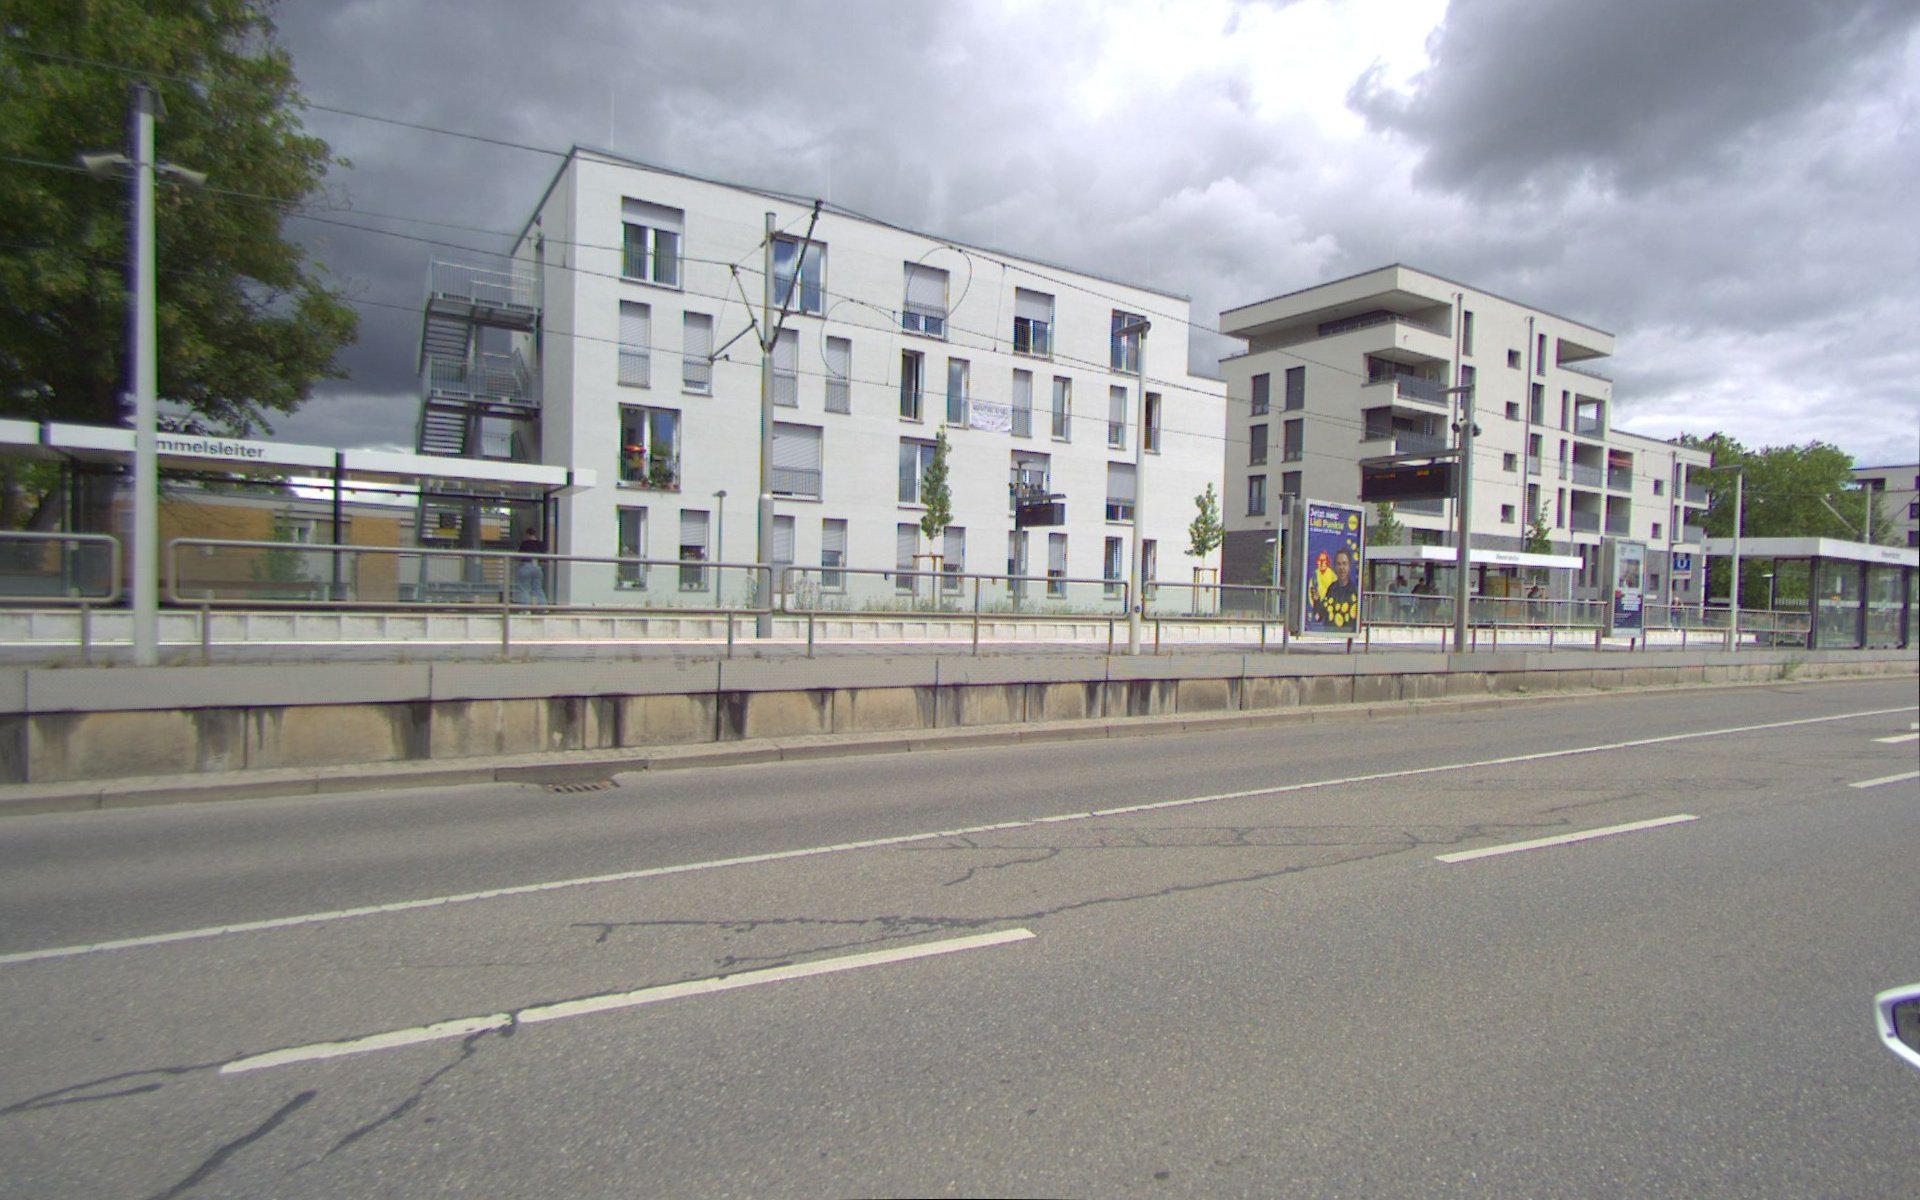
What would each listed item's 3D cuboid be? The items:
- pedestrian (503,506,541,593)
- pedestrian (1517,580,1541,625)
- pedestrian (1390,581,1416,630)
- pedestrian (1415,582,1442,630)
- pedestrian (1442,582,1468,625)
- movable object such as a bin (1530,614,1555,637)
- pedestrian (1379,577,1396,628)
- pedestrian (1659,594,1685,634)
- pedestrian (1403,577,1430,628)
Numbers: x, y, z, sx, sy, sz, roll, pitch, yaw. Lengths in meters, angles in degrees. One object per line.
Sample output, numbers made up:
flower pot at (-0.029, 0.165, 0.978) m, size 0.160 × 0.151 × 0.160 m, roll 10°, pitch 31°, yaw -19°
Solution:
pedestrian at (-8.136, -0.922, 18.632) m, size 0.540 × 1.551 × 0.738 m, roll 1°, pitch 1°, yaw -30°
pedestrian at (22.683, 0.096, 40.043) m, size 0.670 × 1.789 × 0.558 m, roll 1°, pitch 1°, yaw -31°
pedestrian at (15.102, 0.187, 34.252) m, size 0.664 × 1.618 × 0.489 m, roll 2°, pitch 1°, yaw 10°
pedestrian at (16.031, 0.216, 34.395) m, size 0.664 × 1.618 × 0.489 m, roll 2°, pitch 1°, yaw 2°
pedestrian at (18.547, 0.127, 37.673) m, size 0.670 × 1.575 × 0.558 m, roll 1°, pitch 1°, yaw -31°
movable object such as a bin at (22.897, 0.994, 39.488) m, size 0.670 × 0.861 × 0.558 m, roll 1°, pitch 1°, yaw -31°
pedestrian at (14.962, 0.085, 35.189) m, size 0.479 × 1.748 × 0.677 m, roll 2°, pitch 1°, yaw 23°
pedestrian at (32.863, 0.659, 46.339) m, size 0.925 × 1.789 × 0.671 m, roll 1°, pitch 1°, yaw -36°
pedestrian at (16.338, 0.091, 35.956) m, size 0.664 × 1.789 × 0.489 m, roll 2°, pitch 1°, yaw 2°
